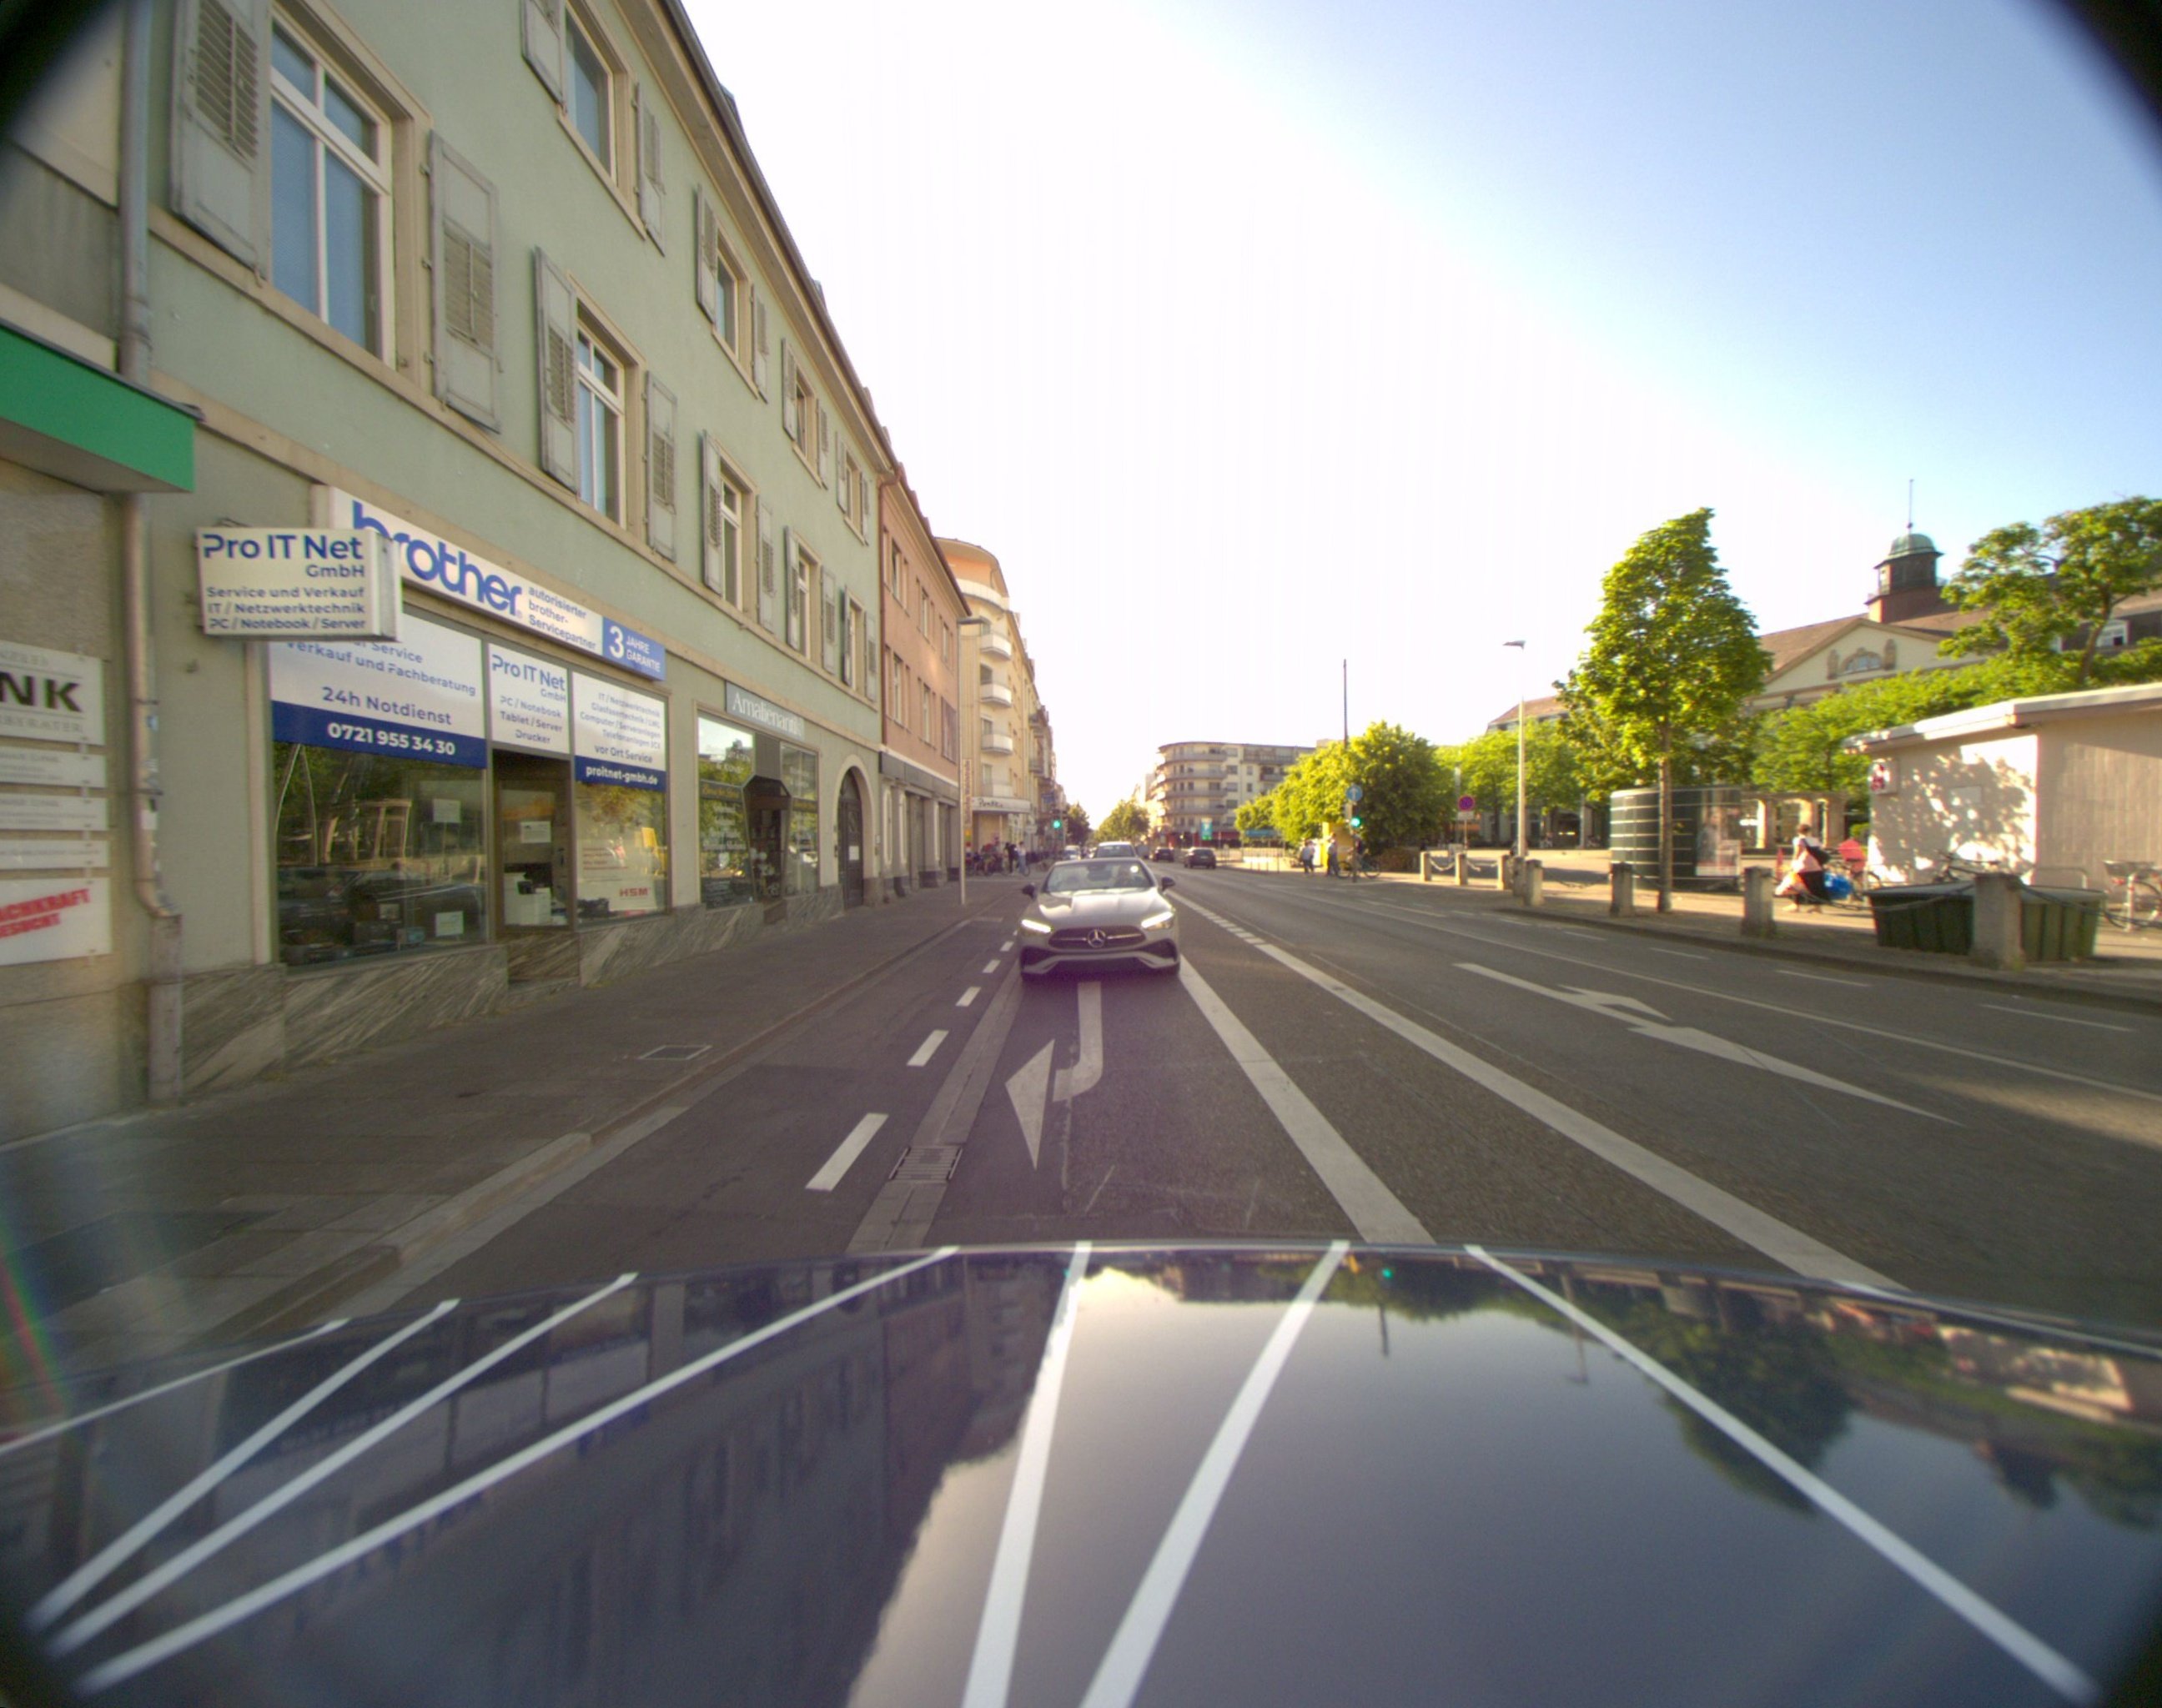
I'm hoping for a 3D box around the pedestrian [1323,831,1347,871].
[{"bbox_3d":[11.423,-0.139,34.179,0.590,1.801,0.782,-2,2,-25],"label":"pedestrian"}]

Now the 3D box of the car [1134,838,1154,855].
[{"bbox_3d":[7.858,-0.921,94.704,1.999,1.936,4.782,2,1,0],"label":"car"}]

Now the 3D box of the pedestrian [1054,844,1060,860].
[{"bbox_3d":[-2.762,-0.246,87.525,0.694,1.895,0.906,-1,1,-2],"label":"pedestrian"}]

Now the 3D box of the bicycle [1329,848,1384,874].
[{"bbox_3d":[11.689,0.302,32.257,2.171,1.066,0.765,-1,1,22],"label":"bicycle"}]

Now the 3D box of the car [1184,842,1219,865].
[{"bbox_3d":[8.077,-0.078,51.215,1.654,1.389,4.042,3,1,-1],"label":"car"}]

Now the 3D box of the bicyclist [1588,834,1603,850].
[{"bbox_3d":[47.127,-1.071,69.591,0.951,1.464,0.647,-1,1,6],"label":"bicyclist"}]

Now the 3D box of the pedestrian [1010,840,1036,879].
[{"bbox_3d":[-2.527,0.248,33.139,0.813,1.649,0.768,0,2,37],"label":"pedestrian"}]

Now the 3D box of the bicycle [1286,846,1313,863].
[{"bbox_3d":[13.506,0.030,46.981,1.549,1.025,0.364,-1,1,0],"label":"bicycle"}]

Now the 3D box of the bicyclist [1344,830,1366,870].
[{"bbox_3d":[11.629,-0.185,32.279,0.803,1.639,0.995,-1,2,23],"label":"bicyclist"}]

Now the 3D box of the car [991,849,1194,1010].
[{"bbox_3d":[0.204,0.724,9.566,1.910,1.454,4.364,-3,1,2],"label":"car"}]

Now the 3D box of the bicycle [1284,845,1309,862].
[{"bbox_3d":[13.699,-0.046,48.398,1.529,1.025,0.364,-1,1,15],"label":"bicycle"}]

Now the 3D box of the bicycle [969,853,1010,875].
[{"bbox_3d":[-4.312,0.468,35.929,1.823,0.988,0.563,-1,1,-21],"label":"bicycle"}]

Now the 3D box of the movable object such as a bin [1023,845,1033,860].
[{"bbox_3d":[-4.107,-0.145,59.143,0.703,1.154,0.960,-1,1,1],"label":"movable object such as a bin"}]

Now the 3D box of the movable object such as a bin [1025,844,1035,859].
[{"bbox_3d":[-4.103,-0.210,60.910,0.703,1.232,0.960,-1,1,1],"label":"movable object such as a bin"}]

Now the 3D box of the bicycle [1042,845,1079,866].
[{"bbox_3d":[-1.221,0.079,44.985,2.142,1.237,0.710,-1,1,-4],"label":"bicycle"}]

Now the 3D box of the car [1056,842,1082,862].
[{"bbox_3d":[-0.837,-0.169,55.043,1.693,1.390,4.000,-1,1,2],"label":"car"}]

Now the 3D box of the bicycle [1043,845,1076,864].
[{"bbox_3d":[-1.340,0.033,47.564,2.026,1.143,0.715,0,1,1],"label":"bicycle"}]

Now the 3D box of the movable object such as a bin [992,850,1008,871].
[{"bbox_3d":[-4.466,0.361,41.783,0.810,1.106,0.620,-1,1,-1],"label":"movable object such as a bin"}]

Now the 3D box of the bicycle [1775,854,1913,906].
[{"bbox_3d":[15.497,0.519,15.479,1.888,0.996,0.765,-1,1,9],"label":"bicycle"}]

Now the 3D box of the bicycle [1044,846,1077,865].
[{"bbox_3d":[-1.226,0.098,46.253,1.962,1.151,0.755,-1,1,1],"label":"bicycle"}]

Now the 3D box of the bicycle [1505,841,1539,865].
[{"bbox_3d":[21.391,-0.056,36.887,0.941,1.126,2.482,0,1,19],"label":"bicycle"}]

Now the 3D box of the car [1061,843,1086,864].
[{"bbox_3d":[-0.683,-0.092,65.248,1.999,1.725,4.197,-1,1,-1],"label":"car"}]

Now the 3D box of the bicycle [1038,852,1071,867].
[{"bbox_3d":[-1.530,0.319,43.440,1.847,0.826,0.741,-1,1,-5],"label":"bicycle"}]

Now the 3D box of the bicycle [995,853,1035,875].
[{"bbox_3d":[-3.219,0.484,36.856,1.910,1.014,0.561,-1,1,28],"label":"bicycle"}]

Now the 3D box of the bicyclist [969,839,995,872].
[{"bbox_3d":[-4.822,0.061,37.063,1.028,1.574,0.727,-1,1,23],"label":"bicyclist"}]

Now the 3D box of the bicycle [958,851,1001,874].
[{"bbox_3d":[-4.955,0.429,37.116,1.915,1.090,0.734,-1,1,22],"label":"bicycle"}]

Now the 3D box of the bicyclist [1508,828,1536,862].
[{"bbox_3d":[21.381,-0.448,36.875,0.941,1.599,1.171,0,1,19],"label":"bicyclist"}]

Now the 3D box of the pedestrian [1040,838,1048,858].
[{"bbox_3d":[-3.539,-0.614,72.814,0.694,1.895,0.906,-1,1,-2],"label":"pedestrian"}]

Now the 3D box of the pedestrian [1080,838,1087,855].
[{"bbox_3d":[0.315,-0.891,87.484,0.610,1.912,0.714,-1,1,13],"label":"pedestrian"}]

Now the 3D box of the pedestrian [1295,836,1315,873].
[{"bbox_3d":[10.360,0.009,35.146,0.686,1.664,0.698,0,2,32],"label":"pedestrian"}]

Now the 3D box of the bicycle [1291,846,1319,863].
[{"bbox_3d":[13.697,0.049,46.495,1.559,0.996,0.364,-1,1,0],"label":"bicycle"}]

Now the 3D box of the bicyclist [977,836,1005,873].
[{"bbox_3d":[-4.262,0.016,35.963,1.142,1.751,0.752,-2,1,-21],"label":"bicyclist"}]

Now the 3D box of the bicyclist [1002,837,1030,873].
[{"bbox_3d":[-3.142,0.042,36.690,1.129,1.675,0.727,0,2,28],"label":"bicyclist"}]

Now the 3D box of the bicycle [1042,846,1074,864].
[{"bbox_3d":[-1.470,0.057,48.636,2.049,1.174,0.683,-1,1,1],"label":"bicycle"}]

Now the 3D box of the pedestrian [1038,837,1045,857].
[{"bbox_3d":[-3.840,-0.649,73.561,0.673,1.942,0.615,-1,1,-3],"label":"pedestrian"}]

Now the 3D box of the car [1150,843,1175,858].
[{"bbox_3d":[7.948,-0.380,74.228,1.753,1.415,4.253,-2,1,-2],"label":"car"}]

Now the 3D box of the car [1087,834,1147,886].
[{"bbox_3d":[1.249,0.169,27.424,1.998,1.718,4.000,-1,1,1],"label":"car"}]

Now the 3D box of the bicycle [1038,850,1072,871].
[{"bbox_3d":[-1.510,0.365,43.783,1.946,1.205,0.932,-1,1,-5],"label":"bicycle"}]

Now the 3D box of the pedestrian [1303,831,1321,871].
[{"bbox_3d":[10.855,-0.128,35.730,0.650,1.847,0.626,0,2,32],"label":"pedestrian"}]

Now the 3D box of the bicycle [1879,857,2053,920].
[{"bbox_3d":[14.979,0.576,12.916,1.888,0.996,0.765,-1,1,9],"label":"bicycle"}]

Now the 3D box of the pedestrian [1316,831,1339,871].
[{"bbox_3d":[11.306,-0.155,34.868,0.590,1.801,0.781,-2,2,-43],"label":"pedestrian"}]

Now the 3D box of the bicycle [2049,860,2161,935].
[{"bbox_3d":[15.405,0.603,10.722,2.015,0.996,0.889,-1,1,15],"label":"bicycle"}]

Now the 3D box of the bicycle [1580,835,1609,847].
[{"bbox_3d":[47.087,-1.200,69.619,2.121,1.098,0.697,-1,1,6],"label":"bicycle"}]

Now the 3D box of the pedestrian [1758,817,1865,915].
[{"bbox_3d":[13.183,0.202,13.753,0.902,1.688,1.086,-1,1,2],"label":"pedestrian"}]

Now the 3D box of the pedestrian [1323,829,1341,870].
[{"bbox_3d":[11.792,-0.205,35.669,0.609,1.907,0.784,-1,1,2],"label":"pedestrian"}]
